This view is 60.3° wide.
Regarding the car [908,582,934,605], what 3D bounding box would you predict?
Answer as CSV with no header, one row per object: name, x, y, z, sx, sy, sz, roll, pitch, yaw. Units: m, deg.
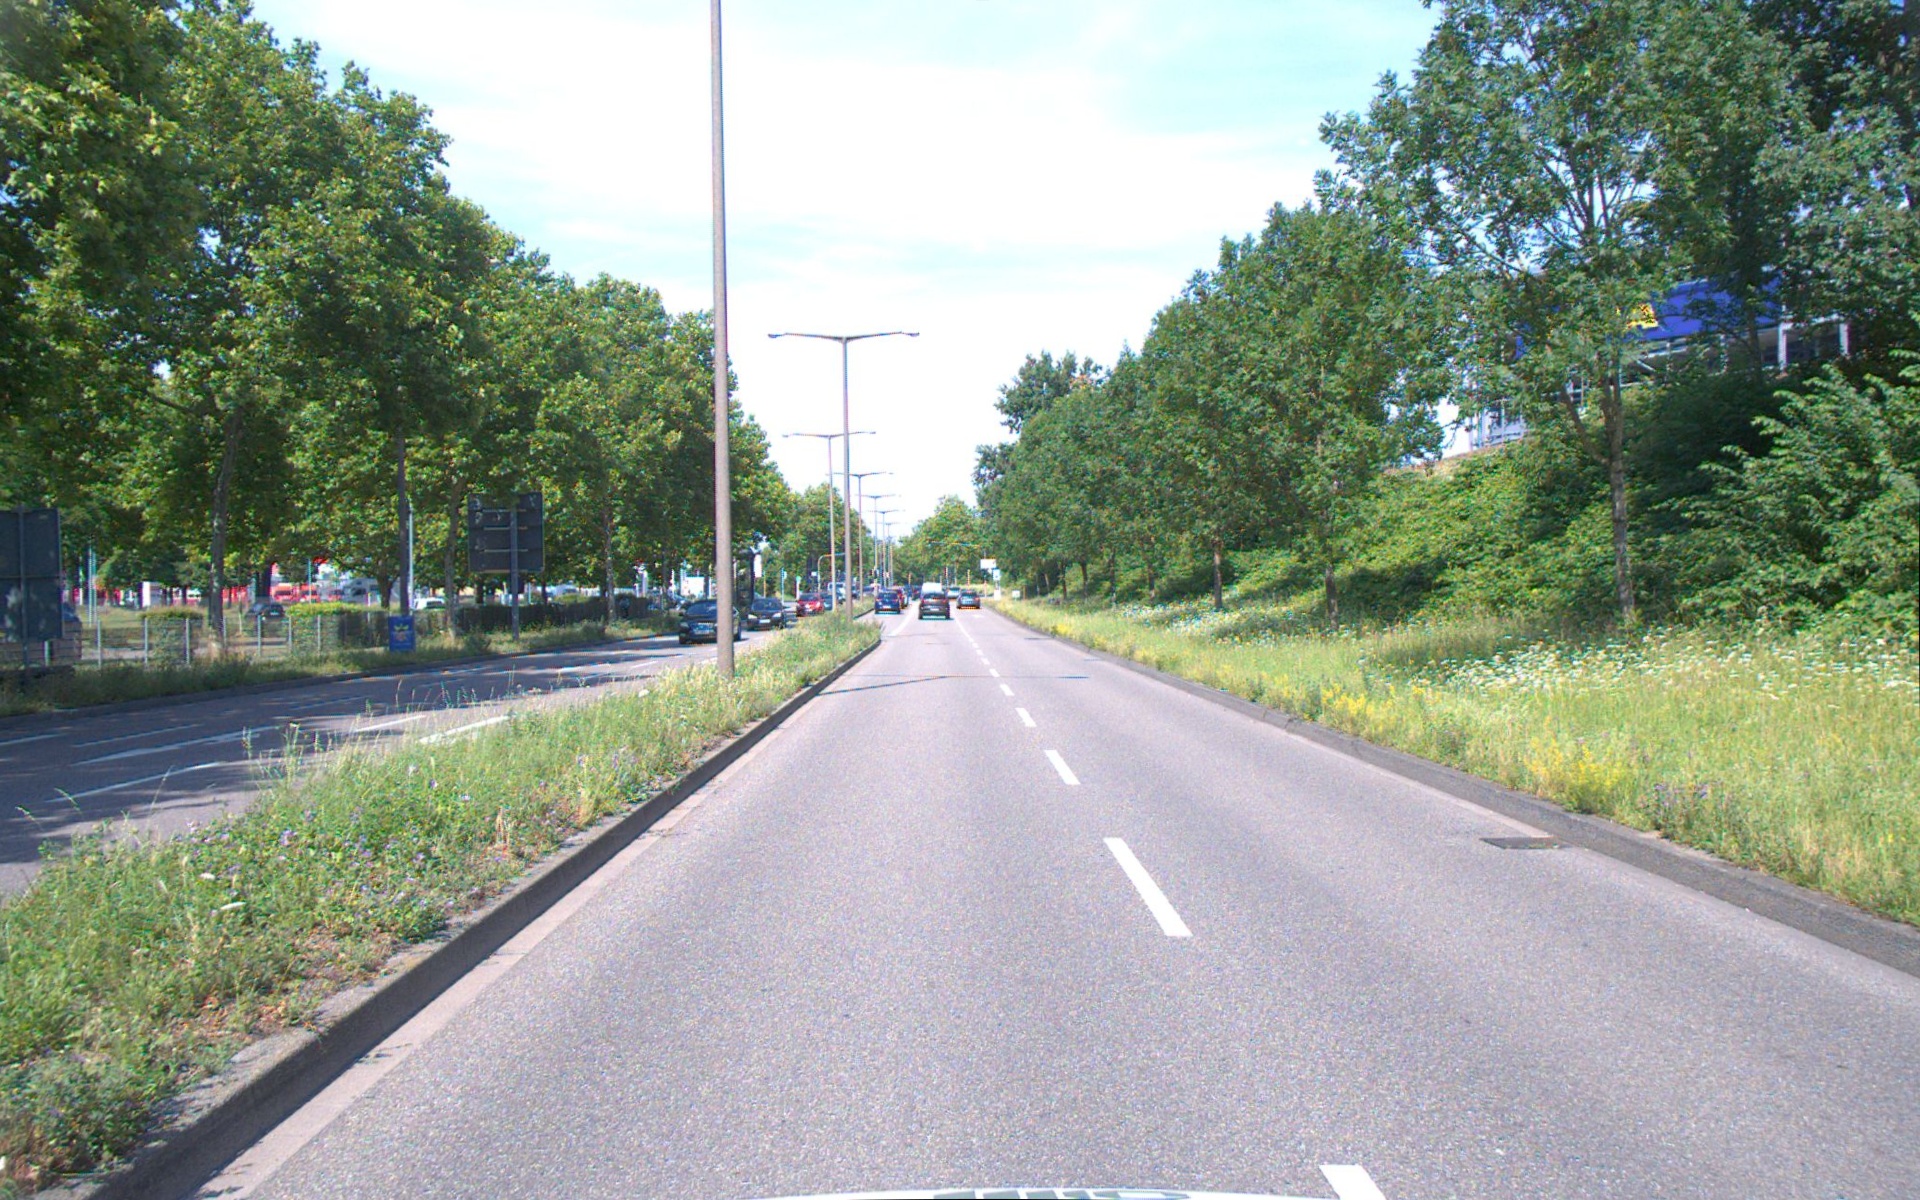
car,-2.923,-0.485,124.866,1.953,1.713,3.999,-1,1,-1

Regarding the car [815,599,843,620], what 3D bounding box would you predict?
car,-9.653,0.711,122.239,1.802,1.504,4.165,-1,0,-1

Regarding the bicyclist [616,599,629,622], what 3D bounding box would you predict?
bicyclist,-21.971,0.685,107.686,0.667,1.511,0.941,-1,0,-1

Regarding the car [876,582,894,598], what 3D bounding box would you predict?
car,-8.989,-1.163,197.704,1.952,1.892,4.000,-1,0,0

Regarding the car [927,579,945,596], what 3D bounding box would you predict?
car,-2.890,-1.462,197.516,1.954,2.049,3.996,-1,0,-5

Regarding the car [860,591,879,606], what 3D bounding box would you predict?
car,-11.151,-0.137,204.297,1.952,1.806,4.001,-1,0,1

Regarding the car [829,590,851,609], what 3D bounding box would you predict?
car,-12.412,-0.058,171.675,2.074,1.916,5.417,-2,0,-2

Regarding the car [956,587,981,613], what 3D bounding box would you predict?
car,0.653,0.008,132.478,1.977,1.869,4.000,0,2,-1

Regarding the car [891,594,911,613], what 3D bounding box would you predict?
car,-5.360,0.316,150.538,1.843,1.646,4.211,0,0,-2

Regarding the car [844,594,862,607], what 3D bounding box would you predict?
car,-13.359,0.042,207.286,1.953,1.557,4.681,-2,0,-1

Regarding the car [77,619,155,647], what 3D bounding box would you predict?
car,-50.474,1.951,98.902,3.902,1.530,1.807,0,2,15

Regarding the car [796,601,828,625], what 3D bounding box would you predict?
car,-9.722,0.846,108.816,1.727,1.488,4.000,-2,0,0

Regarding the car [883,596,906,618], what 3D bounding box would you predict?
car,-5.081,0.540,128.525,1.746,1.620,4.592,0,0,-1

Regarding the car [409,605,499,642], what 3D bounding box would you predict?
car,-25.719,1.184,84.162,3.903,1.855,2.157,0,-1,3

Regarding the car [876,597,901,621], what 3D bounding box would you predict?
car,-4.737,0.563,110.247,1.593,1.509,4.047,1,0,-1

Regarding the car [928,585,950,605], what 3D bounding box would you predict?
car,-1.862,-0.457,146.789,1.953,1.738,4.263,-1,0,-1

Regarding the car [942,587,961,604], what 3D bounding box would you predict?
car,-0.870,-0.440,171.040,1.953,1.738,4.262,-1,0,-1

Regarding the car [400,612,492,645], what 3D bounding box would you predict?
car,-25.128,1.402,80.964,3.905,1.490,1.772,-1,0,0

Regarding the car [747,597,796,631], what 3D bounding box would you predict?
car,-8.725,0.634,76.748,1.736,1.493,4.670,-2,0,-1

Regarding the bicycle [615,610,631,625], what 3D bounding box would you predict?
bicycle,-21.960,1.137,107.728,0.675,0.881,1.926,-1,0,-1

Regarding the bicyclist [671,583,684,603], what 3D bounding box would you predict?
bicyclist,-26.003,-0.663,152.261,0.890,1.745,0.773,-2,3,-37

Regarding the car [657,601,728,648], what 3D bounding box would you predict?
car,-9.091,0.791,56.615,1.790,1.493,4.985,-1,0,-2

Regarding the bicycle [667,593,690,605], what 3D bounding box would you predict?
bicycle,-25.947,-0.062,152.331,1.933,1.000,0.779,-2,3,-37

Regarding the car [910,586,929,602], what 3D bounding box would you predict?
car,-4.247,-0.606,173.305,1.895,1.676,3.999,-1,0,-1

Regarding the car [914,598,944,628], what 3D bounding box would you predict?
car,-1.798,0.740,96.977,1.701,1.562,4.000,0,2,-1
